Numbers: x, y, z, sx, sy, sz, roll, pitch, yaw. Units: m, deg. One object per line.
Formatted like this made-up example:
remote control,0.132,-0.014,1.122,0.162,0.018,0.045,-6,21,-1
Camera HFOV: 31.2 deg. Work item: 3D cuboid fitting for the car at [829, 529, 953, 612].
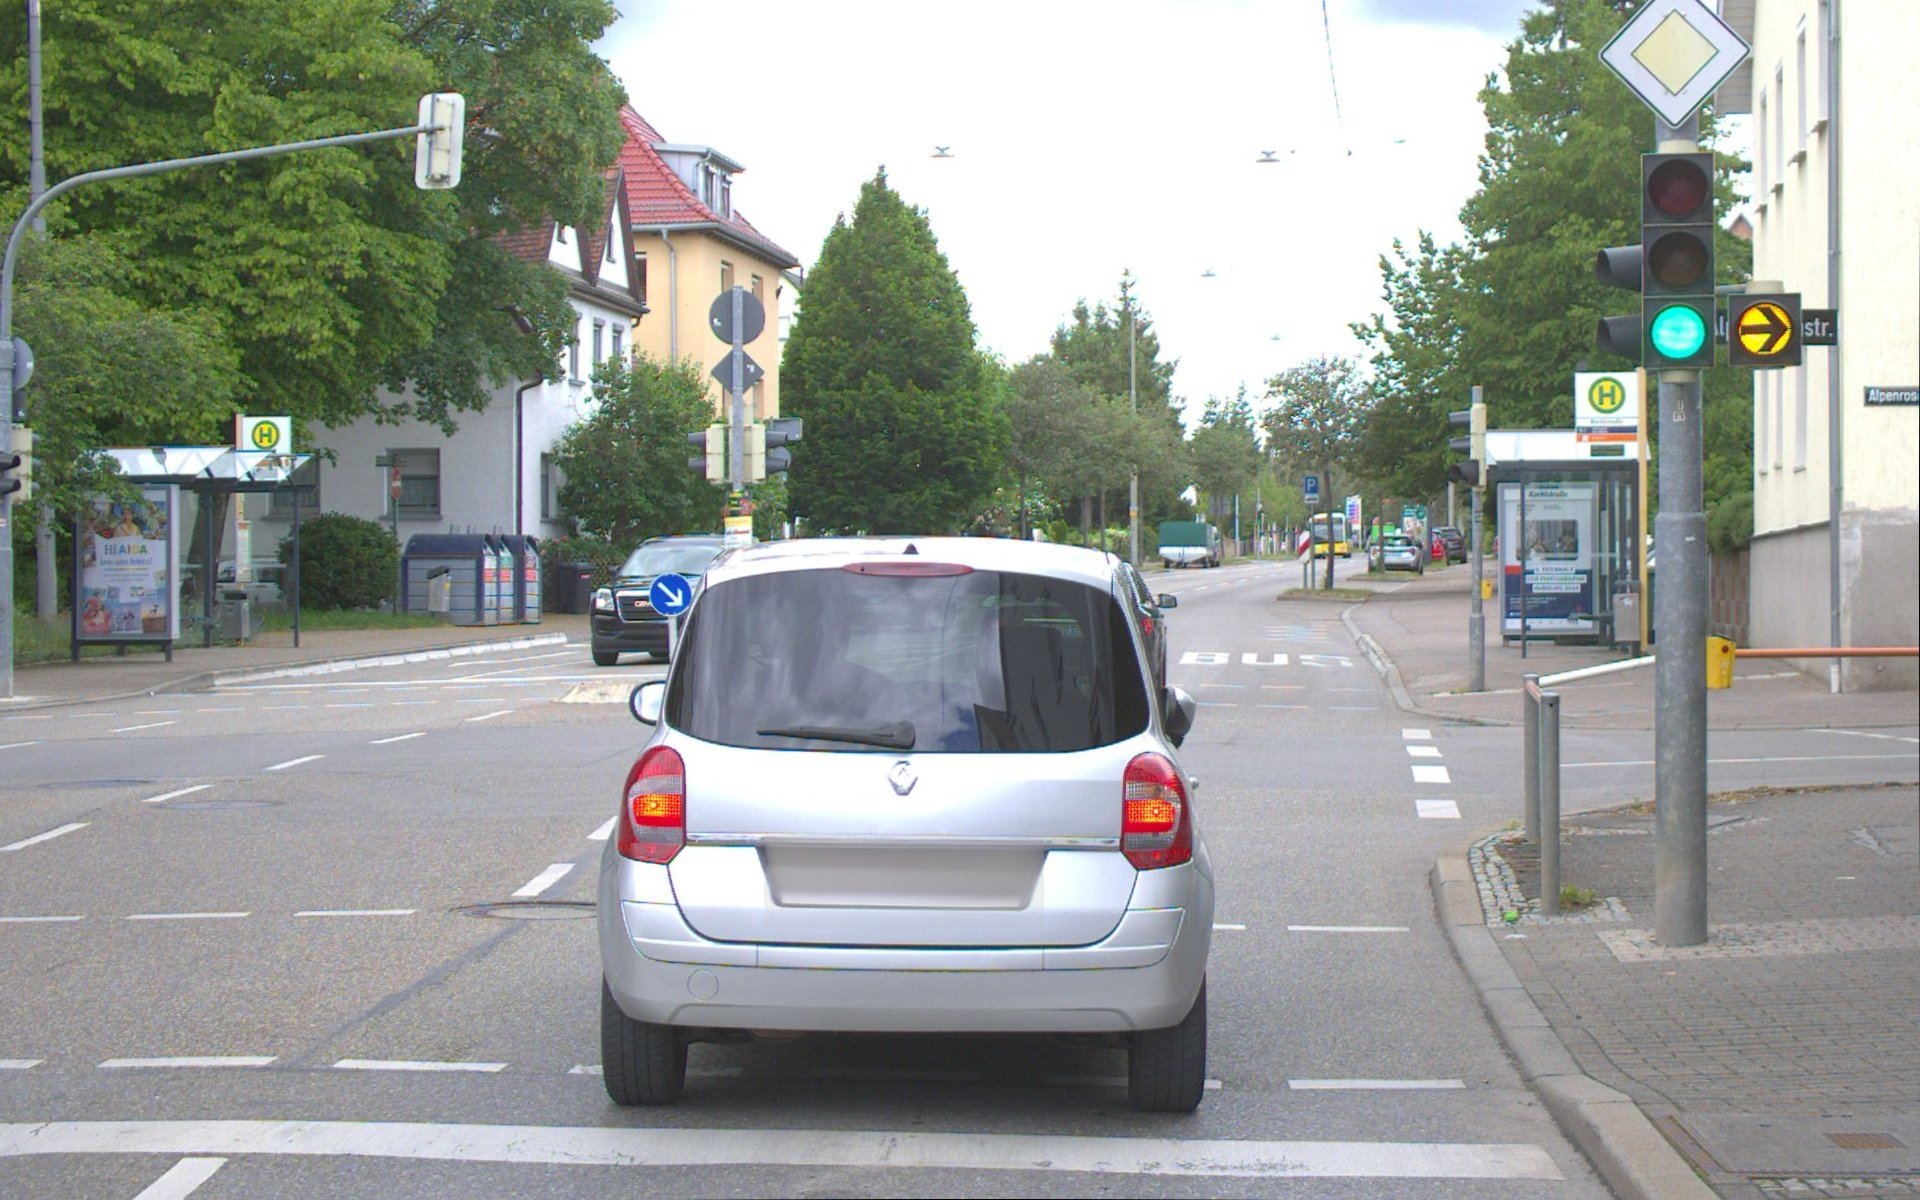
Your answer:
car,-1.192,-0.515,61.136,1.564,1.415,4.129,0,0,8

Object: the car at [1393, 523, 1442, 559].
car,17.966,-2.339,134.907,1.663,1.388,3.666,0,1,12

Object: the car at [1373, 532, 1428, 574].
car,14.900,-1.587,116.192,1.651,1.378,3.998,0,0,10

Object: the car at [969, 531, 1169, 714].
car,1.086,0.184,33.420,1.829,1.670,3.574,0,1,3

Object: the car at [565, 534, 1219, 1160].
car,-0.126,0.613,10.717,1.630,1.551,4.000,1,0,1

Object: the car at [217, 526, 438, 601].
car,-12.703,-0.731,69.182,3.988,1.327,1.722,-2,0,7

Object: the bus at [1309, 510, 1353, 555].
bus,26.438,-4.835,244.858,2.633,3.075,12.066,-2,1,8

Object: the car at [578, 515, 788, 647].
car,-3.648,-0.242,46.077,1.759,1.629,4.593,-2,0,9

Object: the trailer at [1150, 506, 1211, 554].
trailer,10.116,-3.187,157.282,2.313,2.079,5.871,1,0,8
